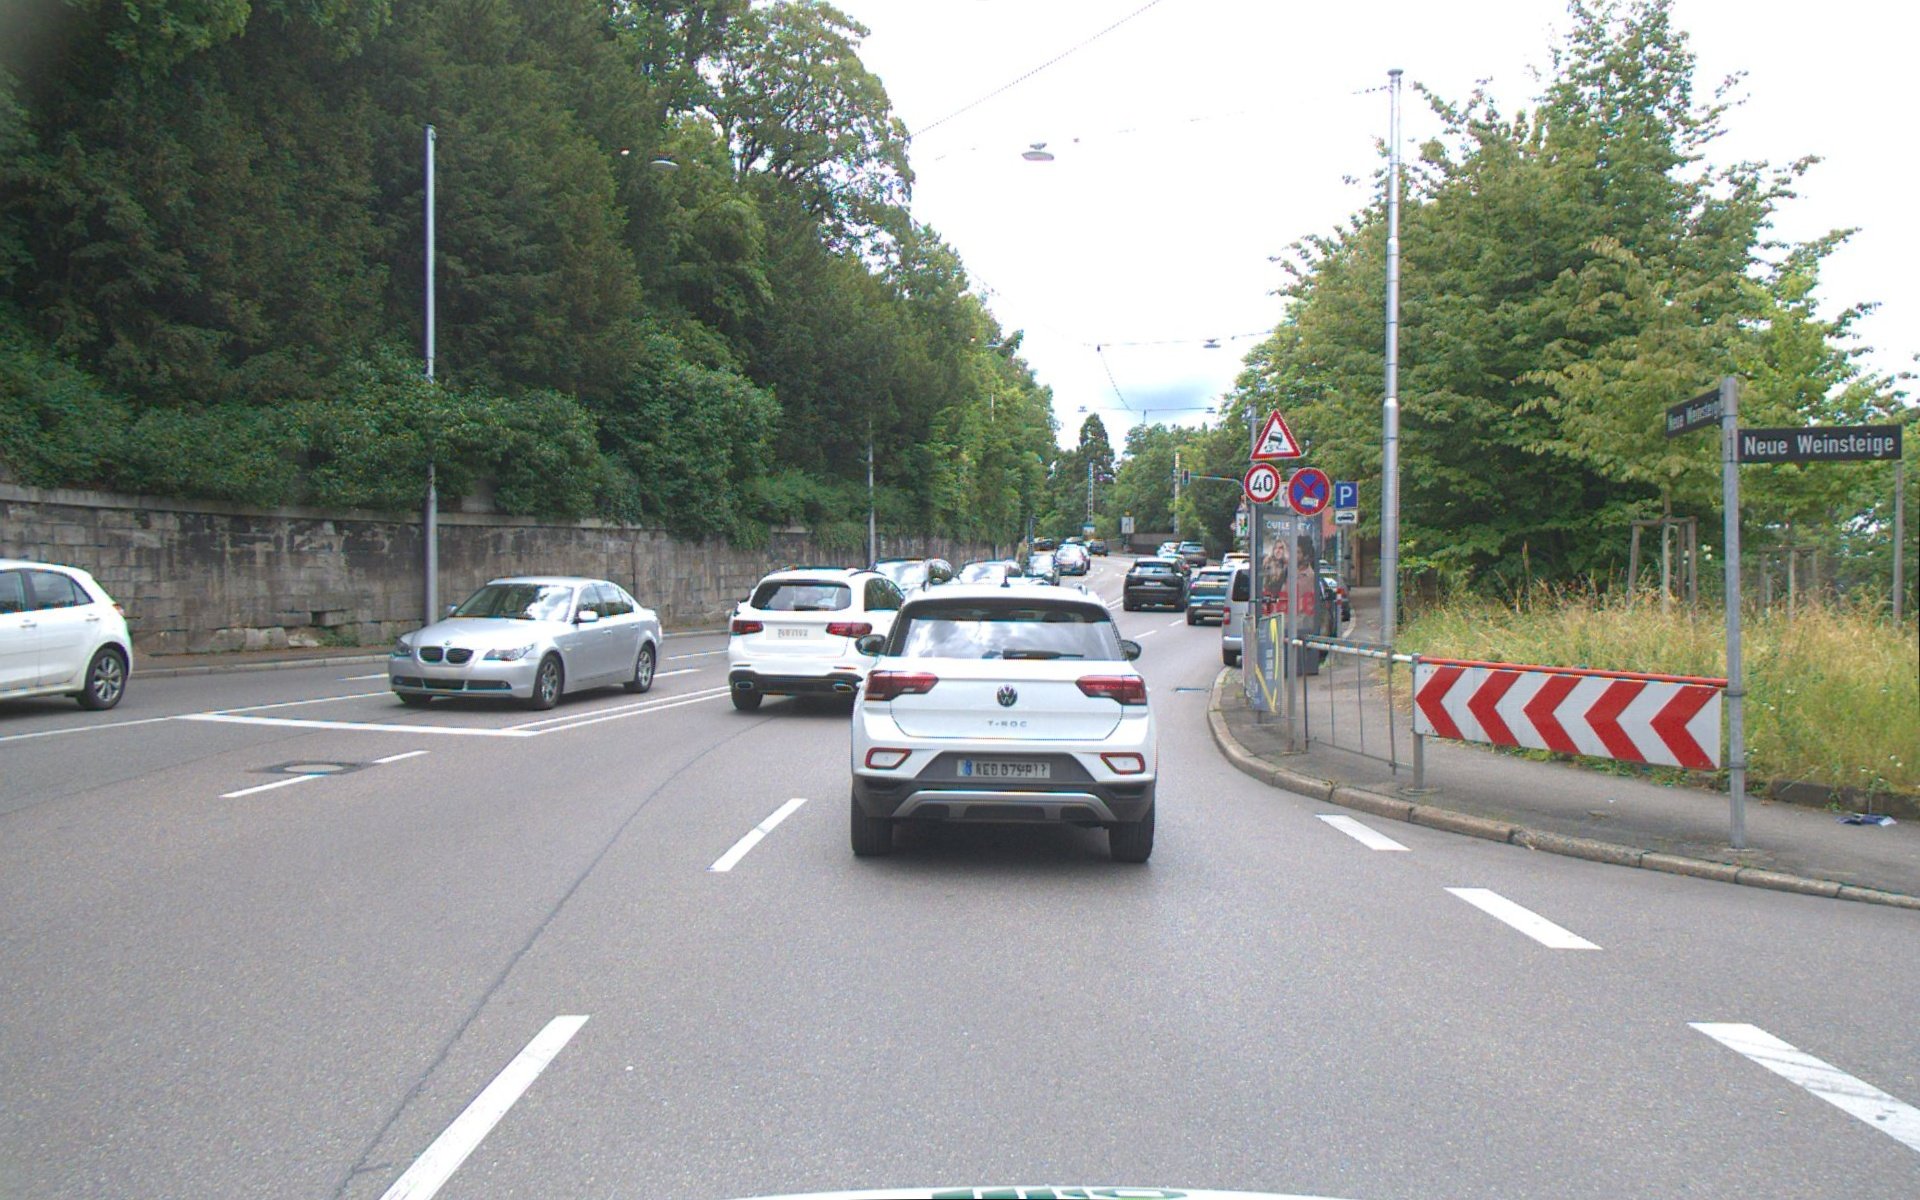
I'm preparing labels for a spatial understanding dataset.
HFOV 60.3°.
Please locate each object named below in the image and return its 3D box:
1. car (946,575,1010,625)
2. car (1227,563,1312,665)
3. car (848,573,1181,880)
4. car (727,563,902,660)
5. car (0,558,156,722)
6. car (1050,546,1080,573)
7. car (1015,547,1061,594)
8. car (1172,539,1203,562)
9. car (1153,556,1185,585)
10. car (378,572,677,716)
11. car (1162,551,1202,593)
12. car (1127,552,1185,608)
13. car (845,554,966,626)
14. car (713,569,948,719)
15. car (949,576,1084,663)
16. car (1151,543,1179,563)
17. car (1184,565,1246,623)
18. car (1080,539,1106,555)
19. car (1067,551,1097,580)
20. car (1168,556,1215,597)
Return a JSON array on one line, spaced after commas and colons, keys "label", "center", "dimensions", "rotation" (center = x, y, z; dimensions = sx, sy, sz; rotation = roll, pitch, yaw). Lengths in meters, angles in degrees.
[{"label": "car", "center": [0.623, 0.001, 54.668], "dimensions": [1.615, 1.544, 3.854], "rotation": [1, 0, 8]}, {"label": "car", "center": [5.730, 0.207, 30.695], "dimensions": [1.462, 1.779, 3.121], "rotation": [0, 1, 10]}, {"label": "car", "center": [0.310, 0.656, 10.860], "dimensions": [1.718, 1.580, 4.338], "rotation": [1, 0, 1]}, {"label": "car", "center": [-2.605, 0.150, 30.785], "dimensions": [1.853, 1.594, 4.483], "rotation": [2, 1, 14]}, {"label": "car", "center": [-9.402, 0.353, 15.291], "dimensions": [1.604, 1.430, 4.068], "rotation": [2, 1, 6]}, {"label": "car", "center": [5.904, -2.284, 92.737], "dimensions": [1.612, 1.476, 3.549], "rotation": [0, 3, 5]}, {"label": "car", "center": [3.530, -1.353, 74.379], "dimensions": [1.696, 2.048, 3.936], "rotation": [0, 1, 8]}, {"label": "car", "center": [15.289, -3.324, 111.410], "dimensions": [1.613, 1.476, 3.547], "rotation": [0, 1, 0]}, {"label": "car", "center": [10.517, -1.506, 83.107], "dimensions": [1.467, 1.350, 3.859], "rotation": [2, 3, 9]}, {"label": "car", "center": [-5.076, 0.435, 20.119], "dimensions": [1.719, 1.467, 4.484], "rotation": [2, 1, 11]}, {"label": "car", "center": [10.244, -1.289, 76.442], "dimensions": [1.599, 1.851, 4.003], "rotation": [-2, 1, 5]}, {"label": "car", "center": [6.332, -0.676, 53.610], "dimensions": [1.750, 1.664, 3.740], "rotation": [1, 3, 6]}, {"label": "car", "center": [-1.162, -0.277, 37.527], "dimensions": [1.778, 1.465, 4.066], "rotation": [1, 2, 12]}, {"label": "car", "center": [-1.467, 0.451, 20.665], "dimensions": [1.819, 1.633, 4.675], "rotation": [1, 1, 10]}, {"label": "car", "center": [1.213, 0.340, 32.885], "dimensions": [1.825, 1.561, 4.781], "rotation": [1, 1, 12]}, {"label": "car", "center": [15.417, -3.535, 124.468], "dimensions": [1.613, 1.476, 3.546], "rotation": [0, 1, -1]}, {"label": "car", "center": [7.102, -0.207, 46.062], "dimensions": [1.593, 1.444, 3.859], "rotation": [2, 2, 9]}, {"label": "car", "center": [11.968, -4.772, 149.156], "dimensions": [1.616, 1.476, 3.539], "rotation": [0, 1, -9]}, {"label": "car", "center": [7.584, -2.166, 102.772], "dimensions": [1.720, 1.737, 3.825], "rotation": [0, 1, 6]}, {"label": "car", "center": [8.627, -0.880, 61.454], "dimensions": [1.593, 1.363, 3.859], "rotation": [2, 3, 9]}]
